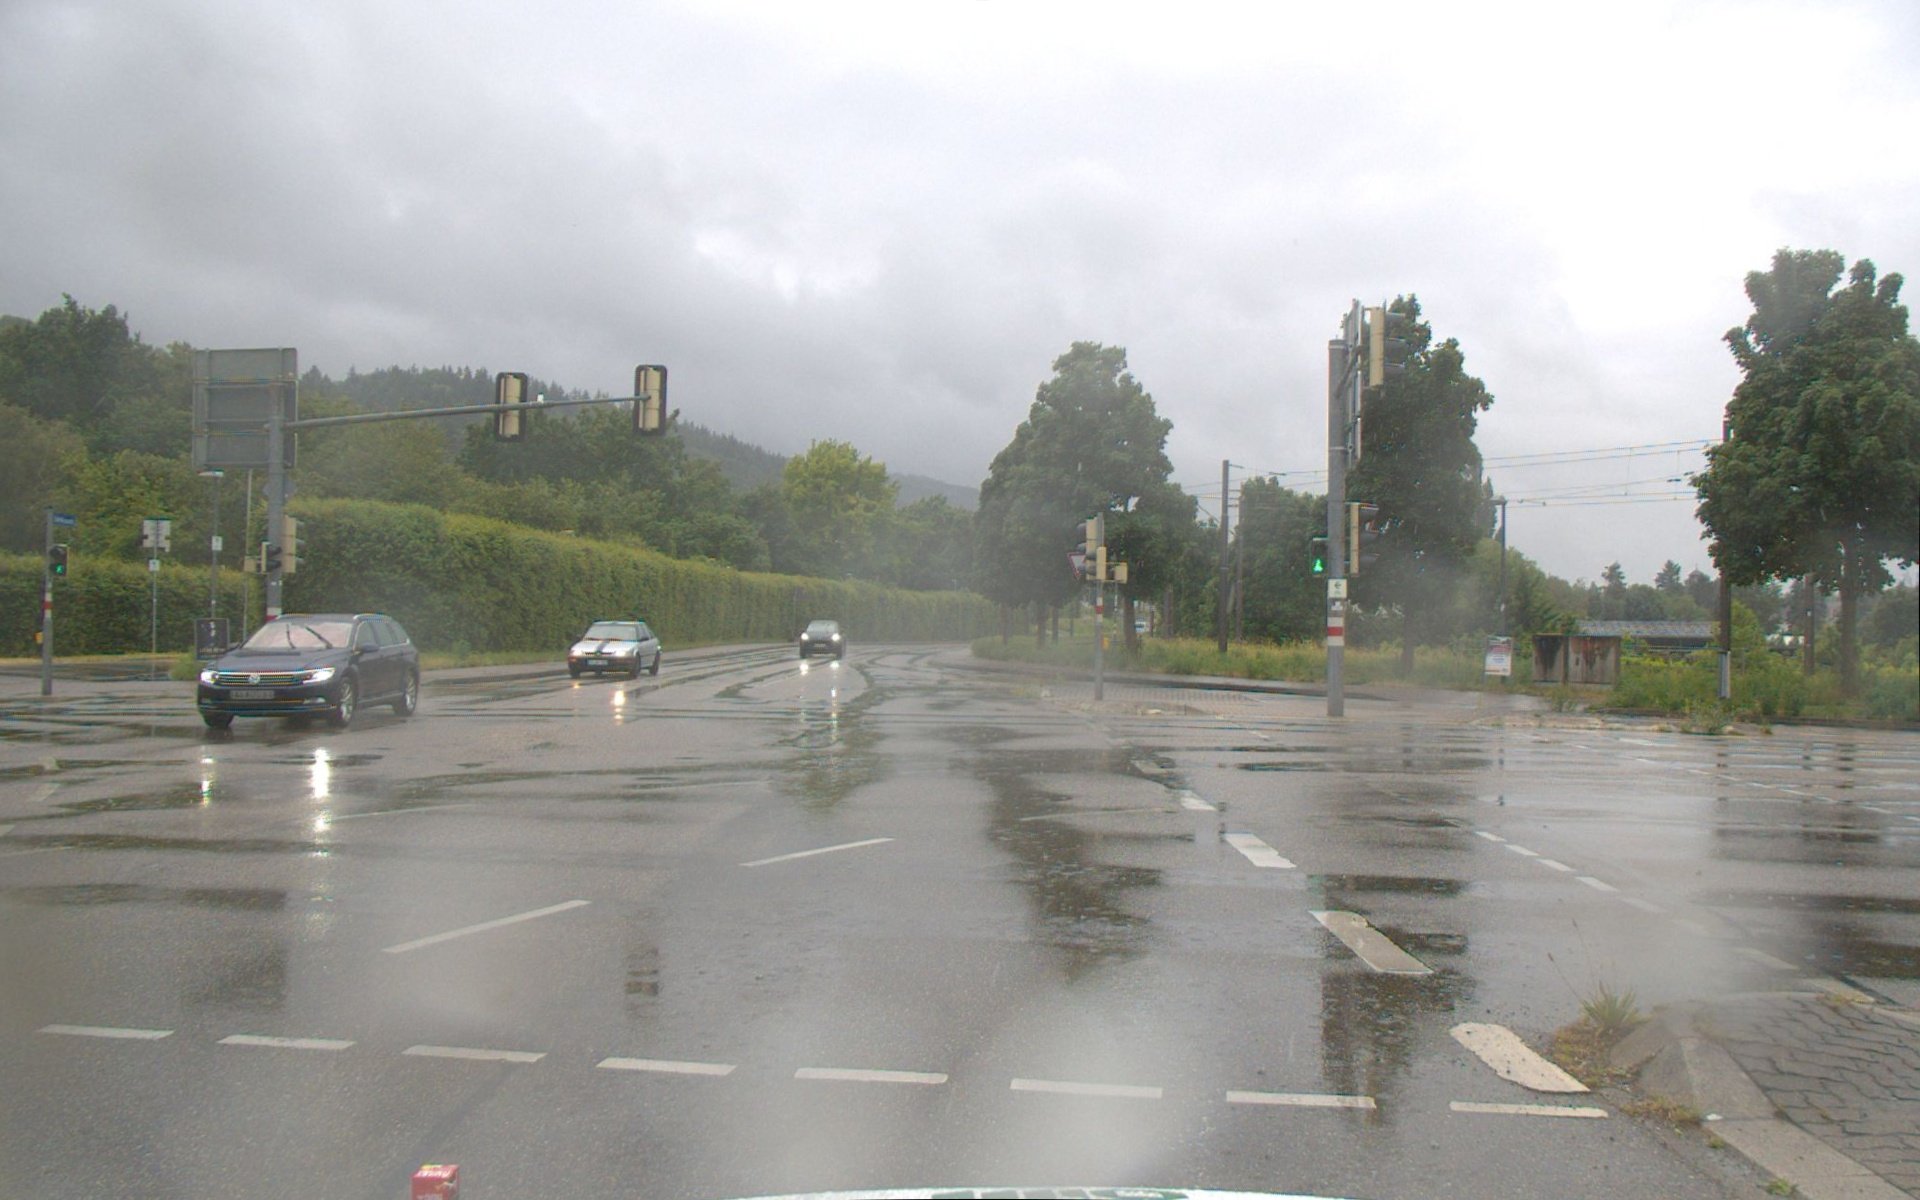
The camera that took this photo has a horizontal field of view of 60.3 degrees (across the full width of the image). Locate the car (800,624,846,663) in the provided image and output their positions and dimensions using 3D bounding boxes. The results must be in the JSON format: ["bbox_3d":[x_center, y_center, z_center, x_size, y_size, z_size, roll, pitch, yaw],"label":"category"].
[{"bbox_3d":[-5.809,1.833,70.358,1.749,1.531,4.059,0,0,-2],"label":"car"}]

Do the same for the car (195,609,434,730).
[{"bbox_3d":[-8.777,0.890,22.909,1.674,1.491,4.451,1,-1,-2],"label":"car"}]

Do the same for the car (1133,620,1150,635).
[{"bbox_3d":[24.655,3.760,224.619,1.912,1.937,4.123,0,0,13],"label":"car"}]

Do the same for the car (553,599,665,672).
[{"bbox_3d":[-8.828,0.856,41.957,1.995,1.738,4.065,1,0,-1],"label":"car"}]
